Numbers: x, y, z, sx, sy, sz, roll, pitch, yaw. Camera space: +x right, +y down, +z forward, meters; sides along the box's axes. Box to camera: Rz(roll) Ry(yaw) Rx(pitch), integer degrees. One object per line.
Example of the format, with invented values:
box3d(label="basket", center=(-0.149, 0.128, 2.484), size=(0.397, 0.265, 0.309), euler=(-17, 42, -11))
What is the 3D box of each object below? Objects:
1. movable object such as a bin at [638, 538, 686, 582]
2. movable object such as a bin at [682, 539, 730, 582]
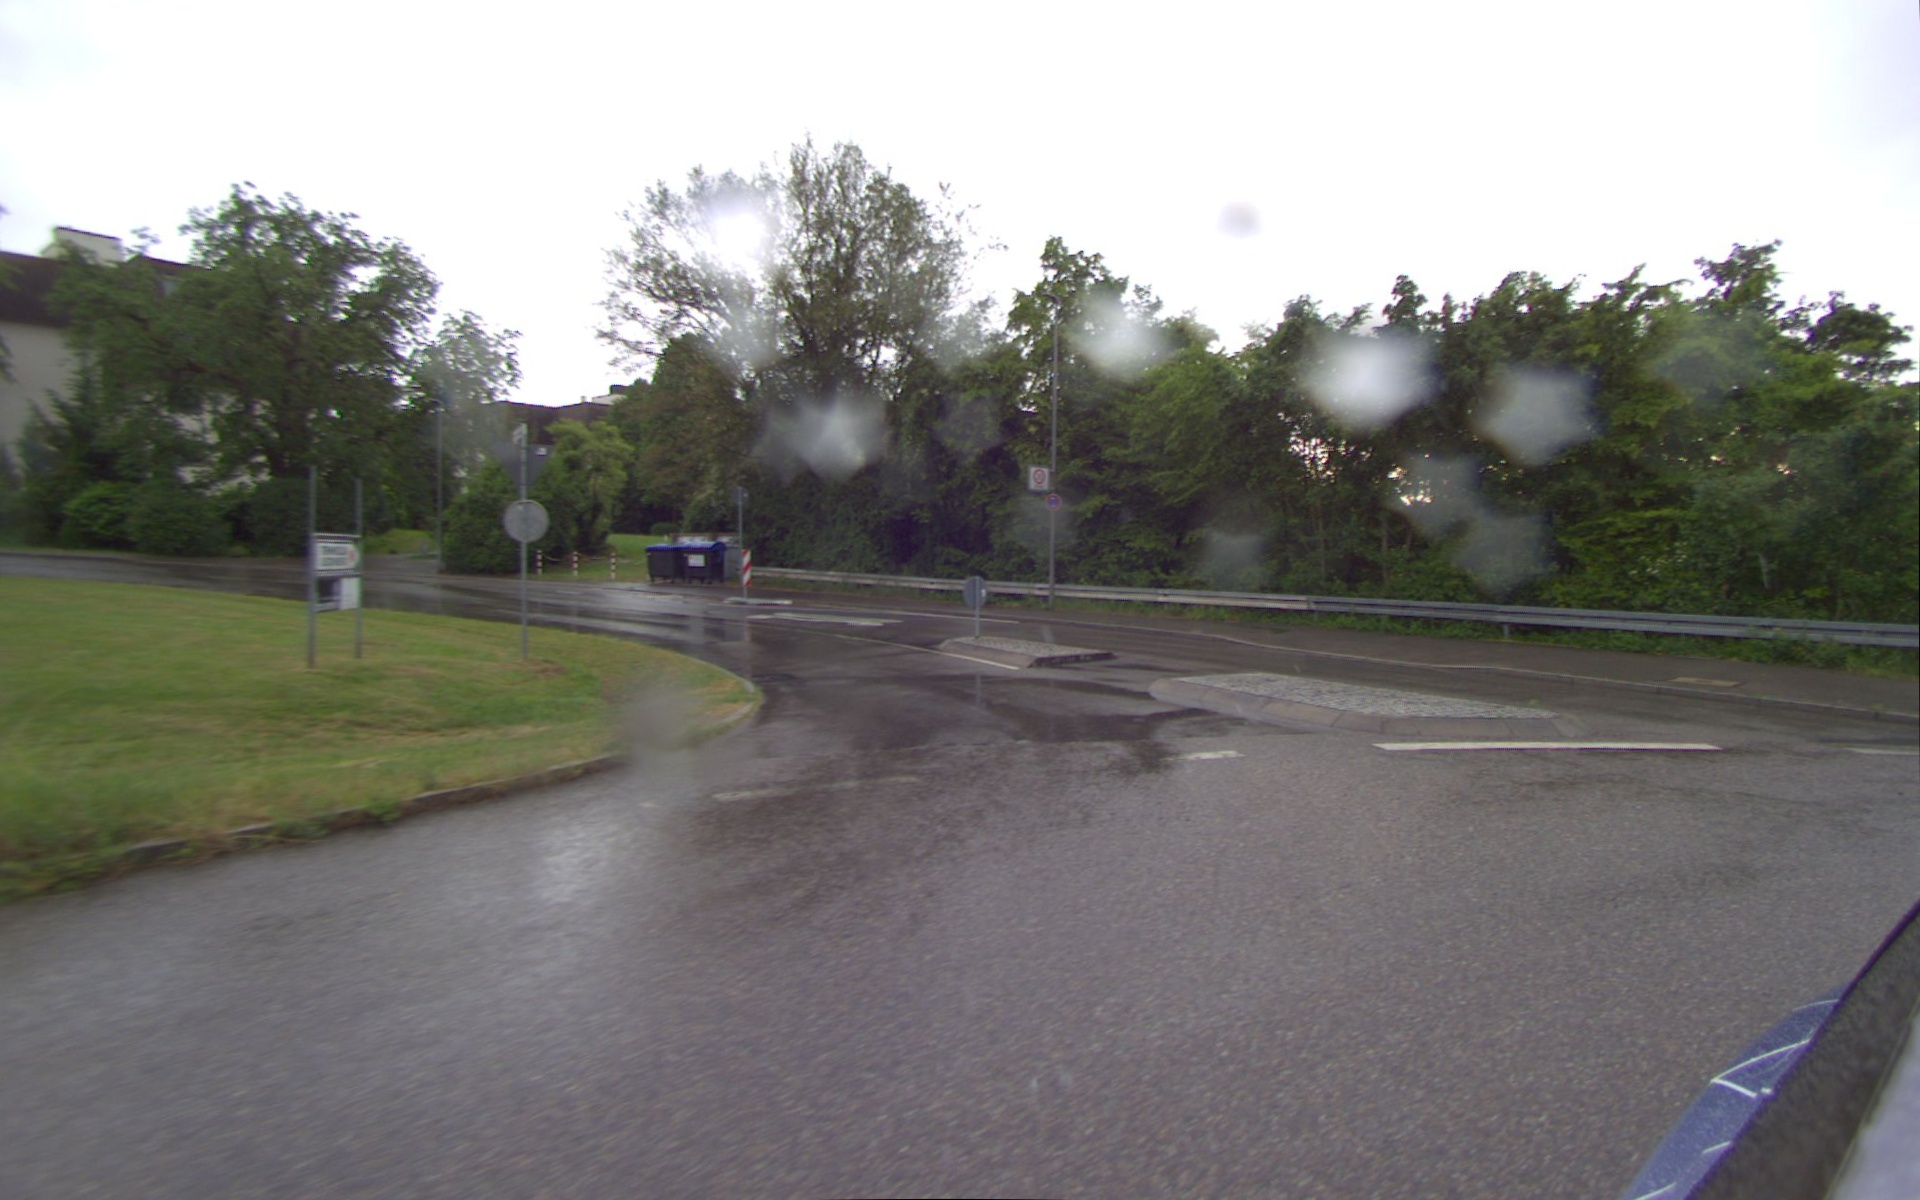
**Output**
box3d(label="movable object such as a bin", center=(-10.236, -1.404, 34.799), size=(1.065, 1.454, 1.187), euler=(2, 4, 27))
box3d(label="movable object such as a bin", center=(-8.639, -1.357, 34.477), size=(1.065, 1.357, 1.188), euler=(2, 5, 27))
